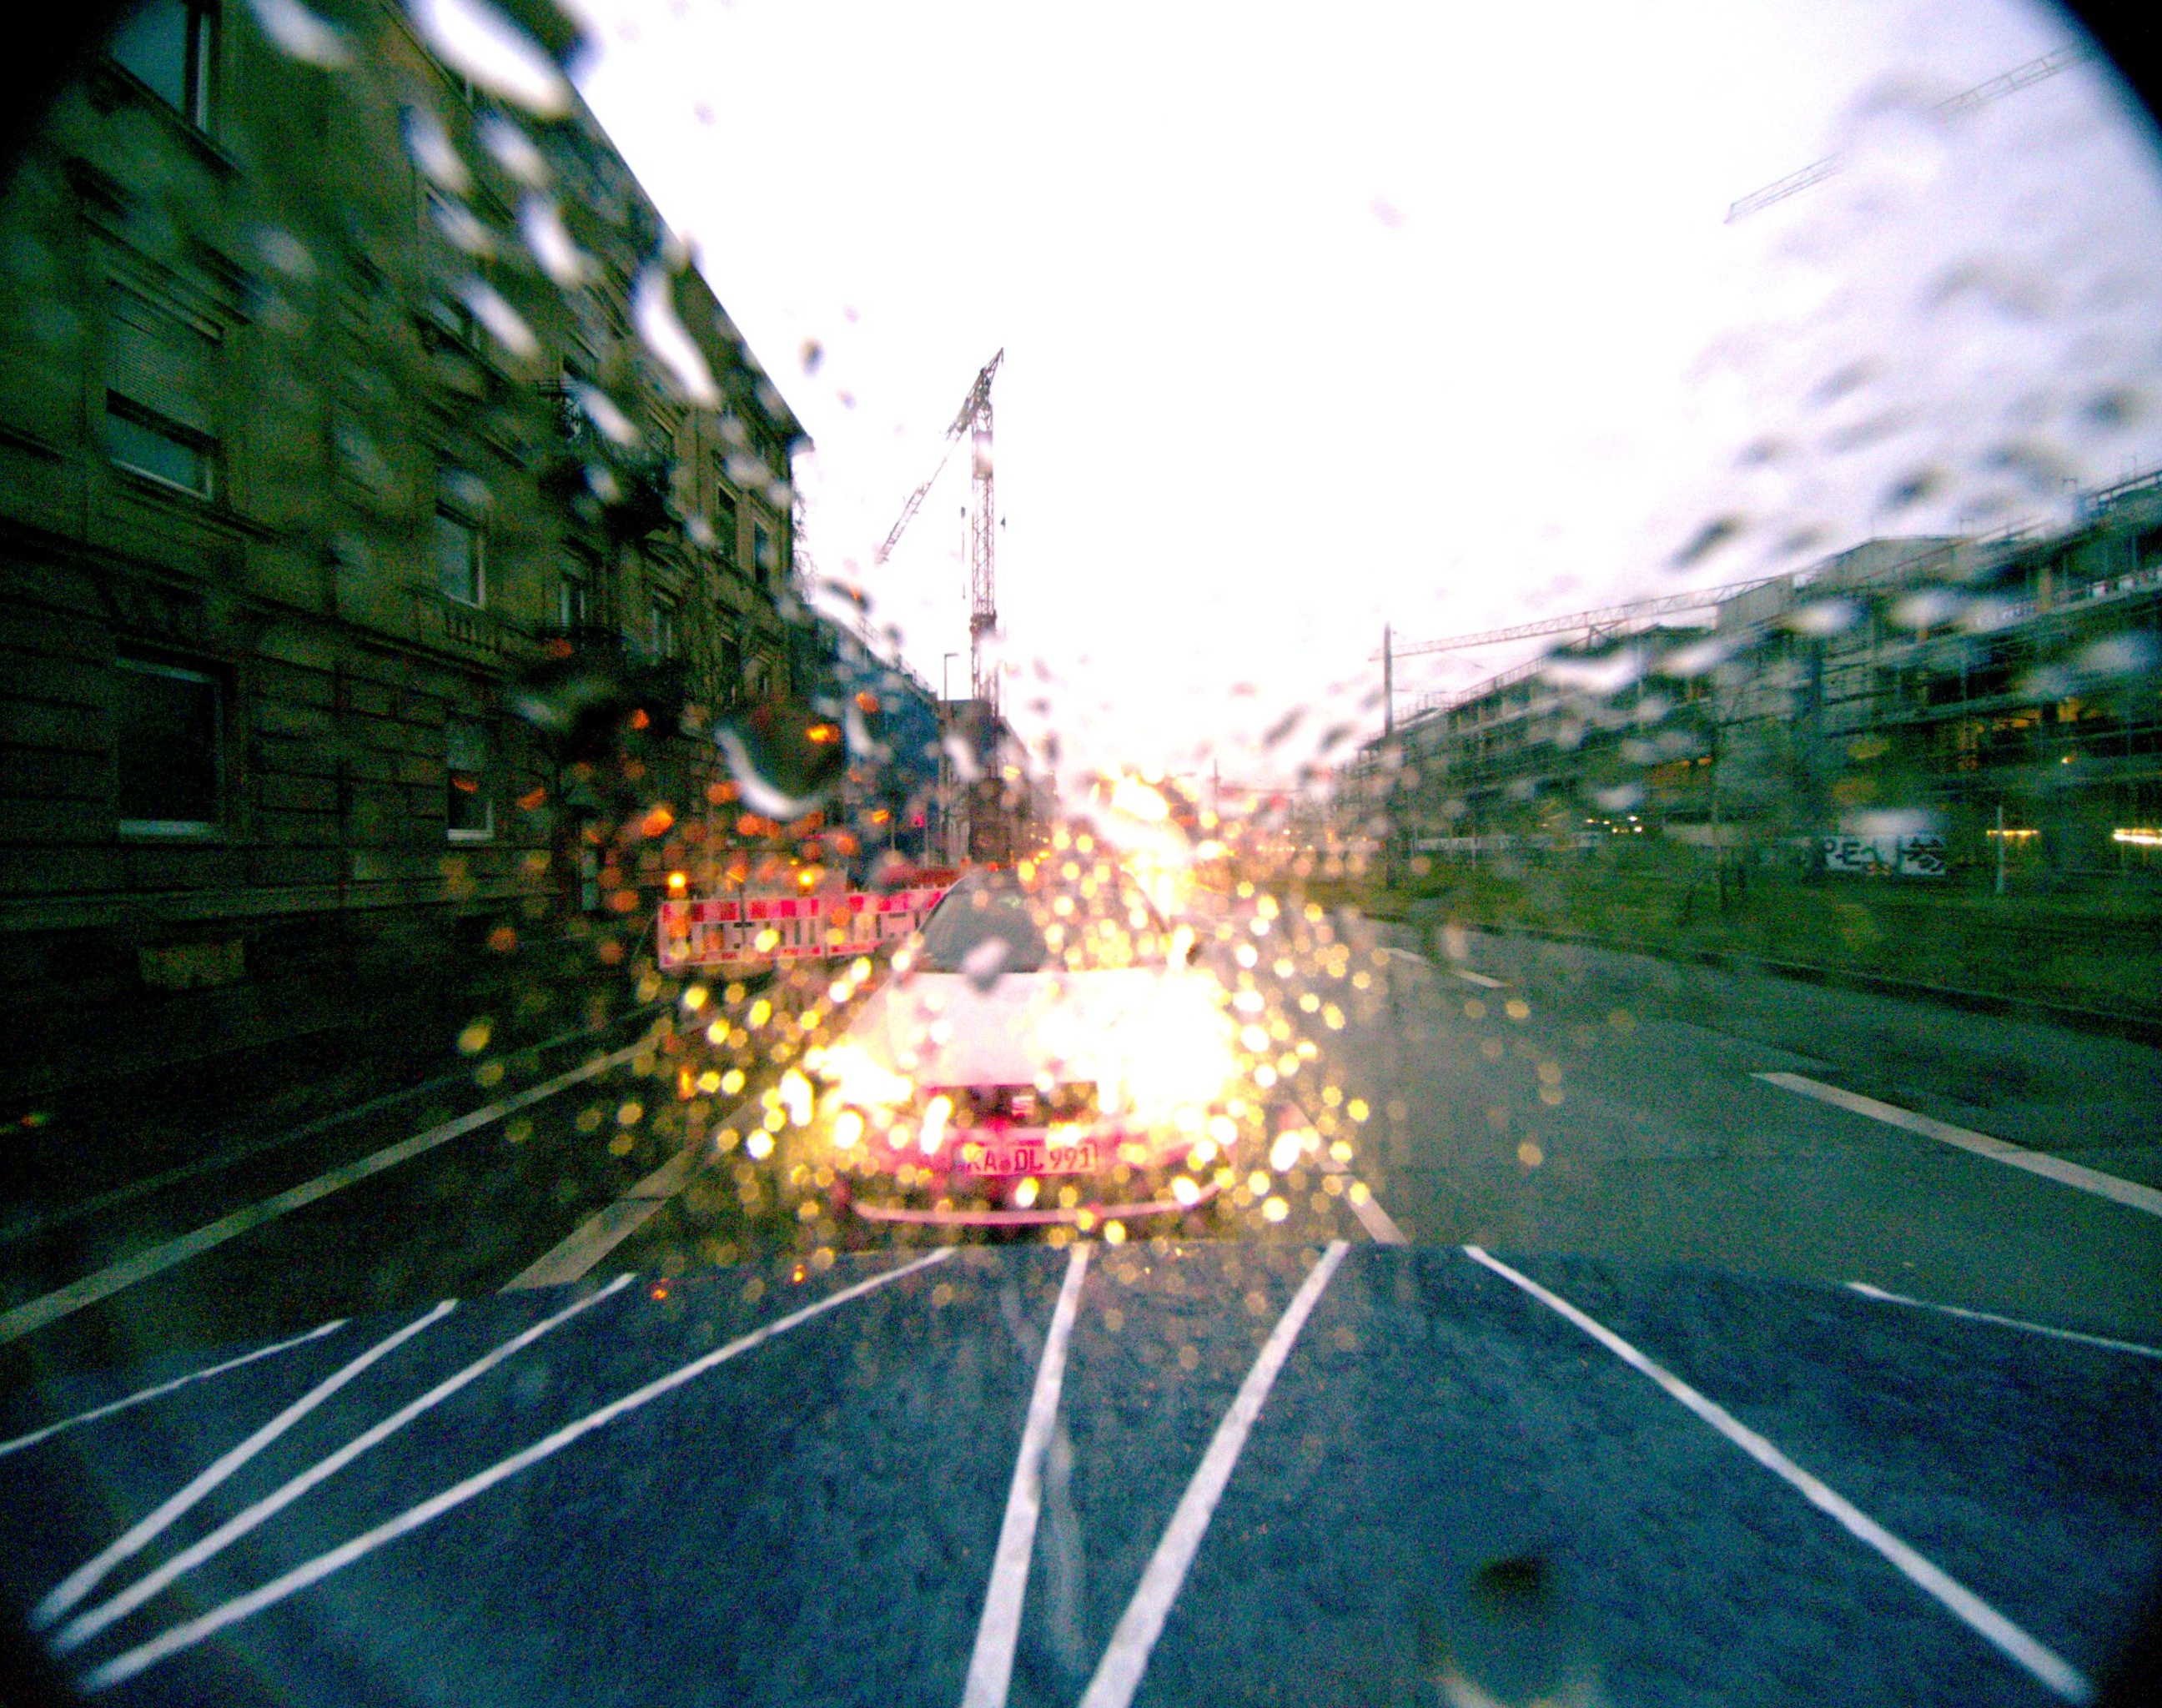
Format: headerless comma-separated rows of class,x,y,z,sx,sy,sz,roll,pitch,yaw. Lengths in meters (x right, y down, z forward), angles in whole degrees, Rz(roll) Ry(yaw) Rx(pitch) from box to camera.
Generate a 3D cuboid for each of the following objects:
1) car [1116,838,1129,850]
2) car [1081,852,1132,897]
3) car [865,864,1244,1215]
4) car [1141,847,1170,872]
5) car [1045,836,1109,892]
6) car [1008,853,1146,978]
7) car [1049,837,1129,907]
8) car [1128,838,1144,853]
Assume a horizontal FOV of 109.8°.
car,5.897,-1.394,107.055,1.768,1.614,3.900,-3,1,4
car,0.930,0.738,29.646,1.769,1.504,3.899,-3,1,0
car,-0.130,0.928,5.640,1.769,1.504,3.899,-3,1,0
car,5.069,0.325,51.912,1.768,1.504,3.900,-3,1,3
car,-0.120,0.242,23.652,1.769,1.504,3.899,-3,1,0
car,-0.055,0.818,12.032,1.769,1.504,3.899,-3,1,0
car,0.171,0.371,19.331,1.769,1.504,3.899,-3,1,0
car,6.297,-1.004,87.363,1.768,1.614,3.900,-3,1,4
